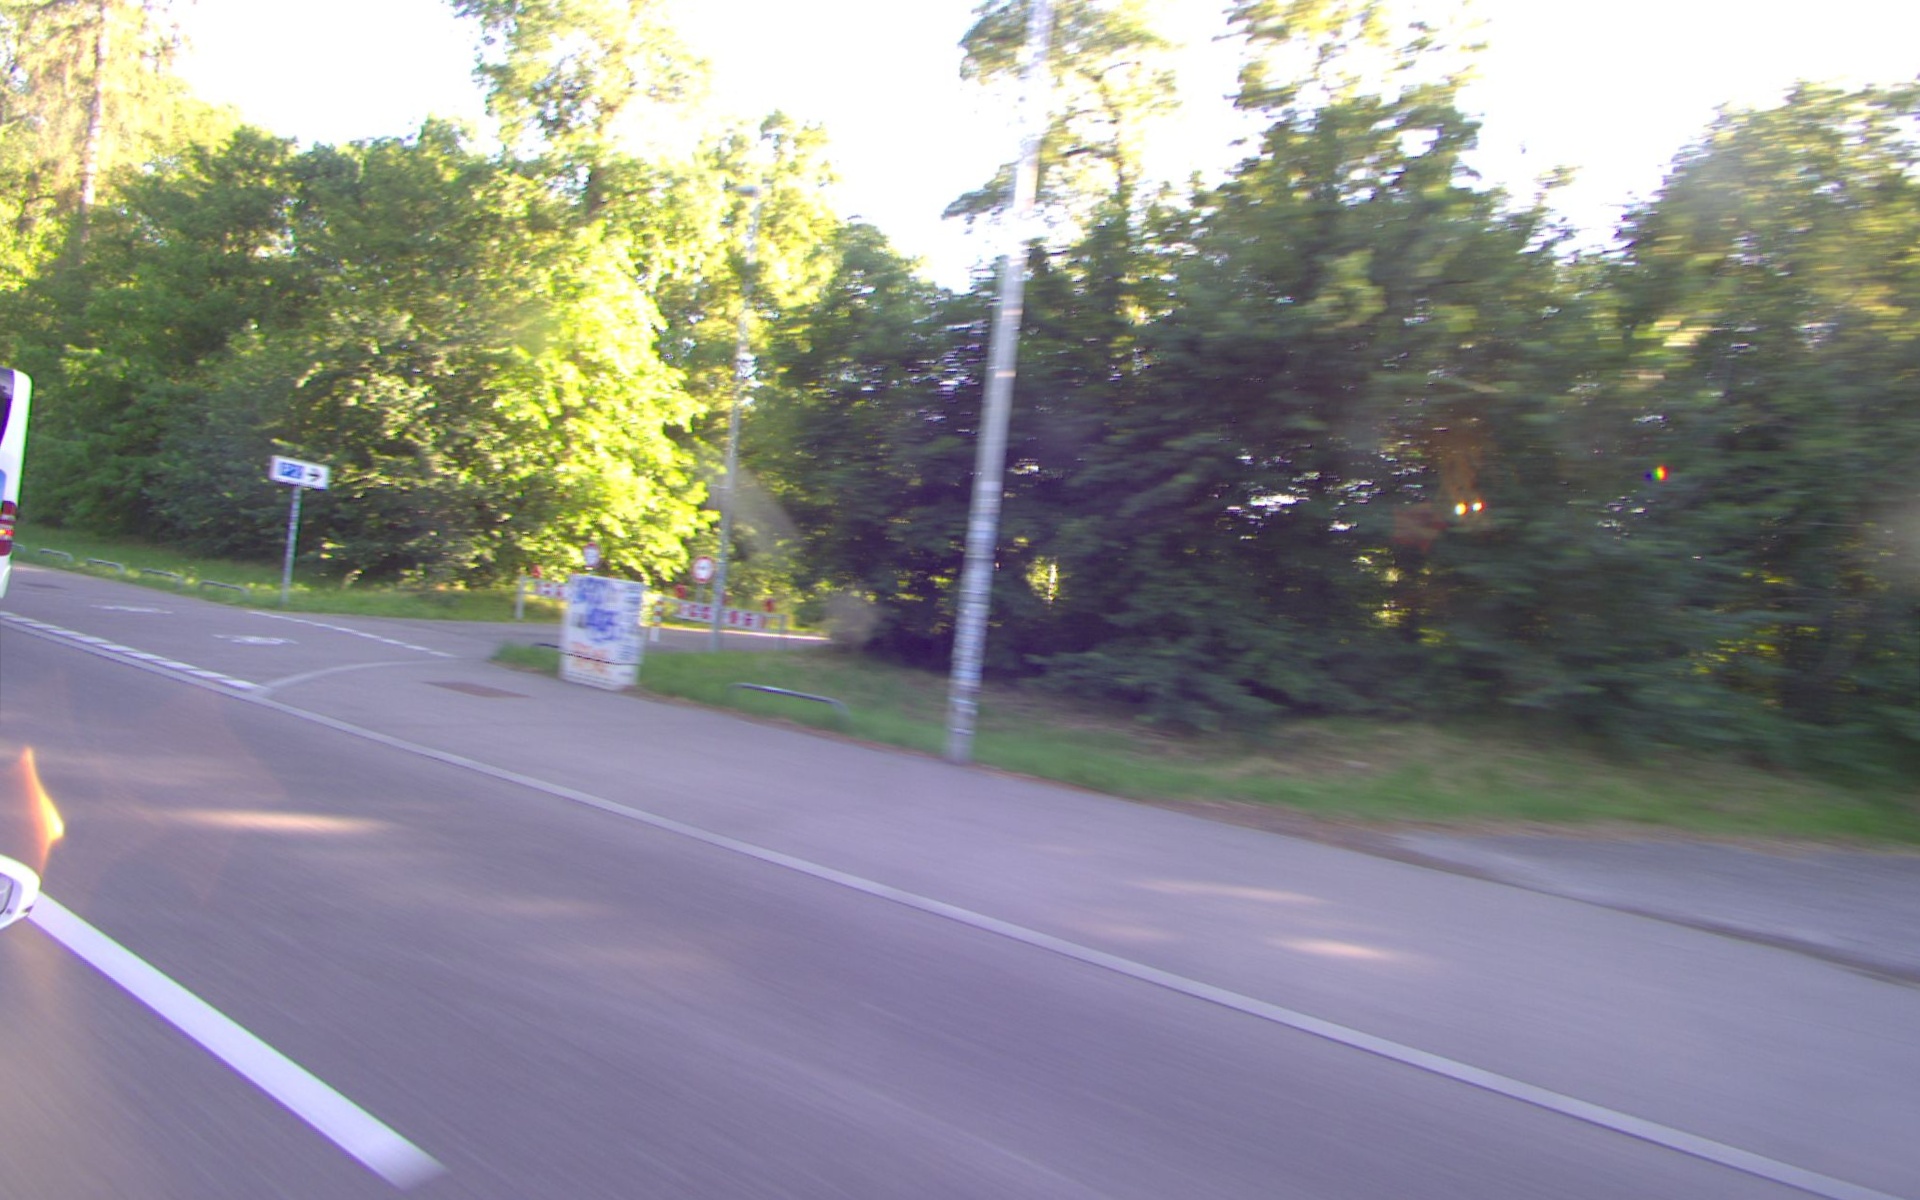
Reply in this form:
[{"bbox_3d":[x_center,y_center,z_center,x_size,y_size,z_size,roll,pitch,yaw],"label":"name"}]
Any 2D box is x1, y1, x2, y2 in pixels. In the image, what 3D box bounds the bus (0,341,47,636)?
[{"bbox_3d":[-15.741,-1.817,12.721,11.839,3.078,2.695,6,-1,31],"label":"bus"}]
